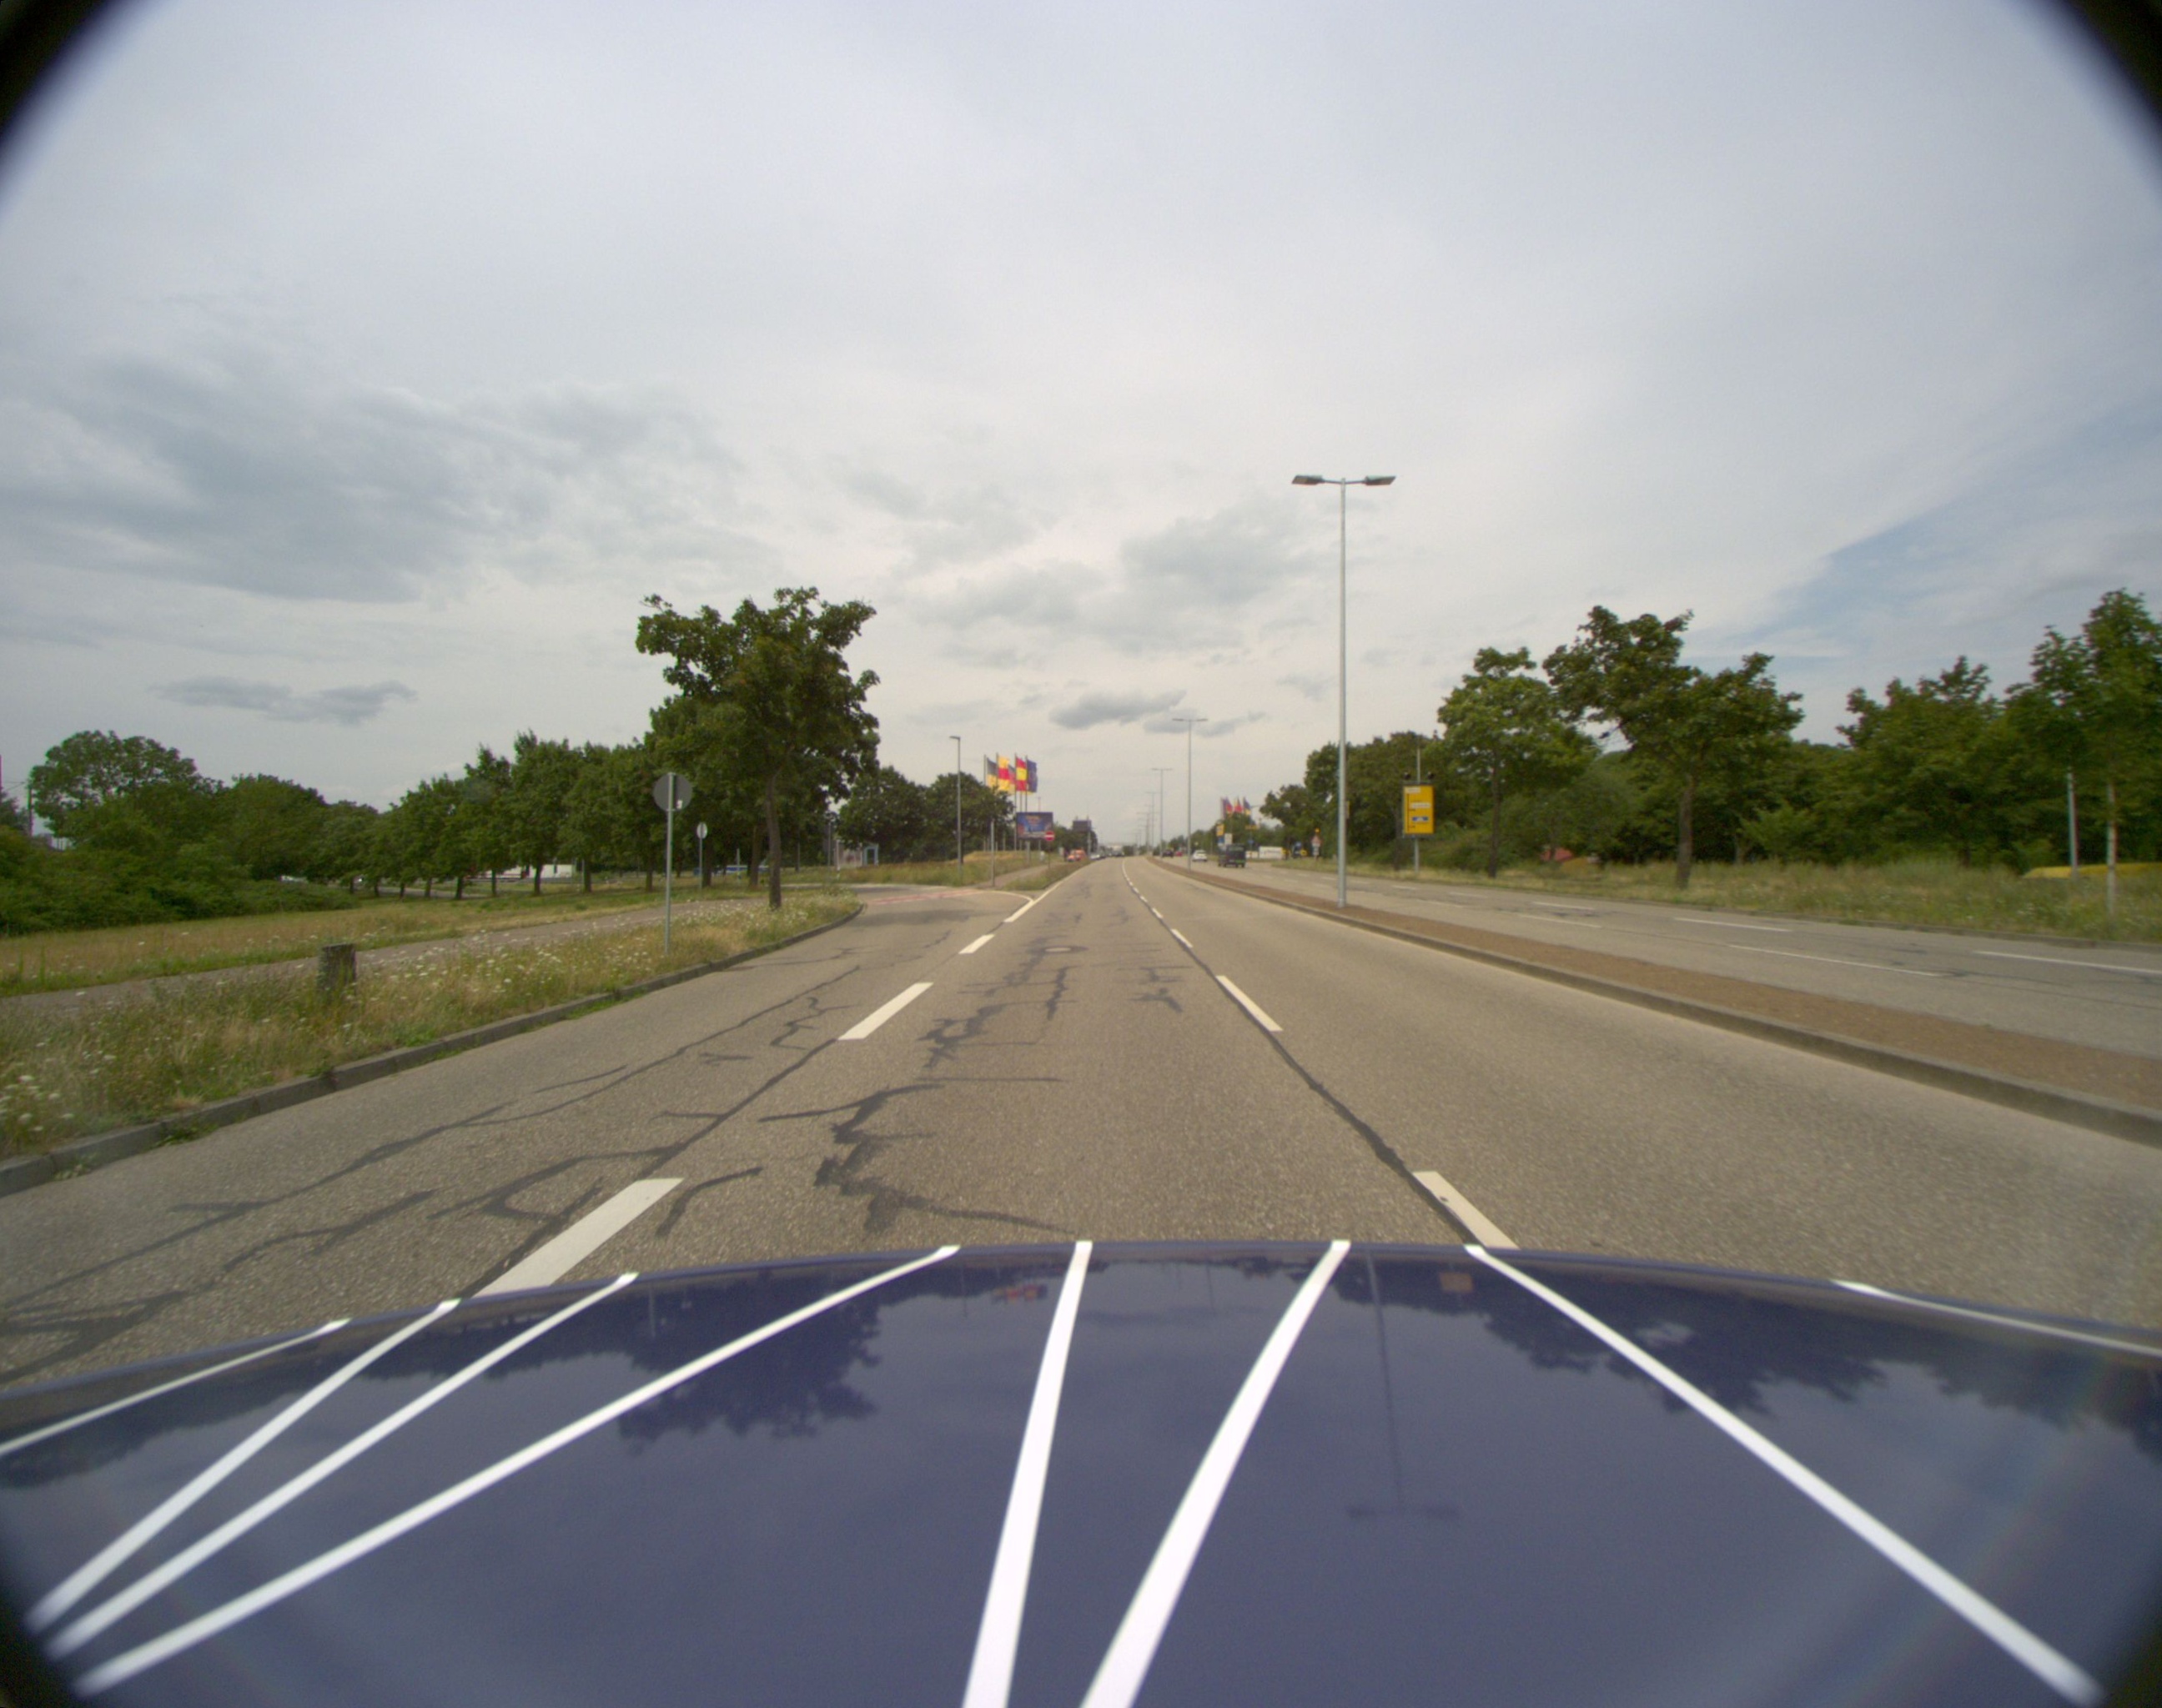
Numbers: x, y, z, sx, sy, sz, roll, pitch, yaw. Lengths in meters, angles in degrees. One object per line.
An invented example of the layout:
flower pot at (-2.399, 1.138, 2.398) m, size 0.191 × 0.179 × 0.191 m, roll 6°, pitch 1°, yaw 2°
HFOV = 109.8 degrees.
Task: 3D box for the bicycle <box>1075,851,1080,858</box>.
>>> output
bicycle at (-0.427, 0.040, 97.021) m, size 0.625 × 0.883 × 2.154 m, roll -1°, pitch 1°, yaw 2°

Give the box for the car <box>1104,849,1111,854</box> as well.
car at (6.246, -0.578, 176.659) m, size 1.558 × 1.229 × 3.470 m, roll -2°, pitch -1°, yaw 3°

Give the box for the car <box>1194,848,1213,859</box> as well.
car at (16.336, -0.025, 101.770) m, size 1.998 × 1.422 × 4.689 m, roll 0°, pitch 0°, yaw 3°

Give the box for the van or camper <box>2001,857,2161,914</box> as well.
van or camper at (40.101, 1.238, 30.091) m, size 4.361 × 2.002 × 2.001 m, roll -2°, pitch 1°, yaw 11°

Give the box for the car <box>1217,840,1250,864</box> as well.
car at (14.785, -0.210, 73.960) m, size 2.100 × 2.188 × 6.004 m, roll 1°, pitch 0°, yaw 1°

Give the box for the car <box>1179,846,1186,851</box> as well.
car at (28.430, -1.402, 212.376) m, size 1.758 × 1.314 × 4.348 m, roll -1°, pitch -1°, yaw 5°

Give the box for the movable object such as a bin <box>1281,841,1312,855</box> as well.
movable object such as a bin at (36.502, -1.046, 128.761) m, size 4.592 × 2.383 × 1.999 m, roll -1°, pitch 0°, yaw -7°

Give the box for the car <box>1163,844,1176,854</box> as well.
car at (16.909, -0.884, 145.306) m, size 1.998 × 1.800 × 4.798 m, roll 0°, pitch 0°, yaw 1°

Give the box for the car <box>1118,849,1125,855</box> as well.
car at (8.465, -0.450, 158.843) m, size 1.558 × 1.229 × 3.470 m, roll -2°, pitch -1°, yaw 3°

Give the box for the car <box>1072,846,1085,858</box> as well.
car at (-0.364, -0.258, 118.131) m, size 1.892 × 1.824 × 4.431 m, roll -2°, pitch -1°, yaw 3°

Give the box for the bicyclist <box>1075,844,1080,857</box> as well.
bicyclist at (-0.439, -0.453, 97.096) m, size 0.623 × 1.656 × 0.669 m, roll 2°, pitch 0°, yaw 2°

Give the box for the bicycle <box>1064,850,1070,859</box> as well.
bicycle at (-1.891, 0.080, 103.899) m, size 0.695 × 1.185 × 2.461 m, roll 0°, pitch 0°, yaw 2°

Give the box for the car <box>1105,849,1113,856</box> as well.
car at (5.485, -0.216, 147.266) m, size 1.558 × 1.229 × 3.470 m, roll -2°, pitch -1°, yaw 3°

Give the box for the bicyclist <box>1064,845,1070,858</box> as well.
bicyclist at (-1.898, -0.358, 103.941) m, size 0.705 × 1.745 × 0.991 m, roll 0°, pitch 0°, yaw 2°

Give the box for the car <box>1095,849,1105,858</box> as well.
car at (3.146, -0.014, 126.762) m, size 1.695 × 1.403 × 3.684 m, roll -2°, pitch -1°, yaw 1°
